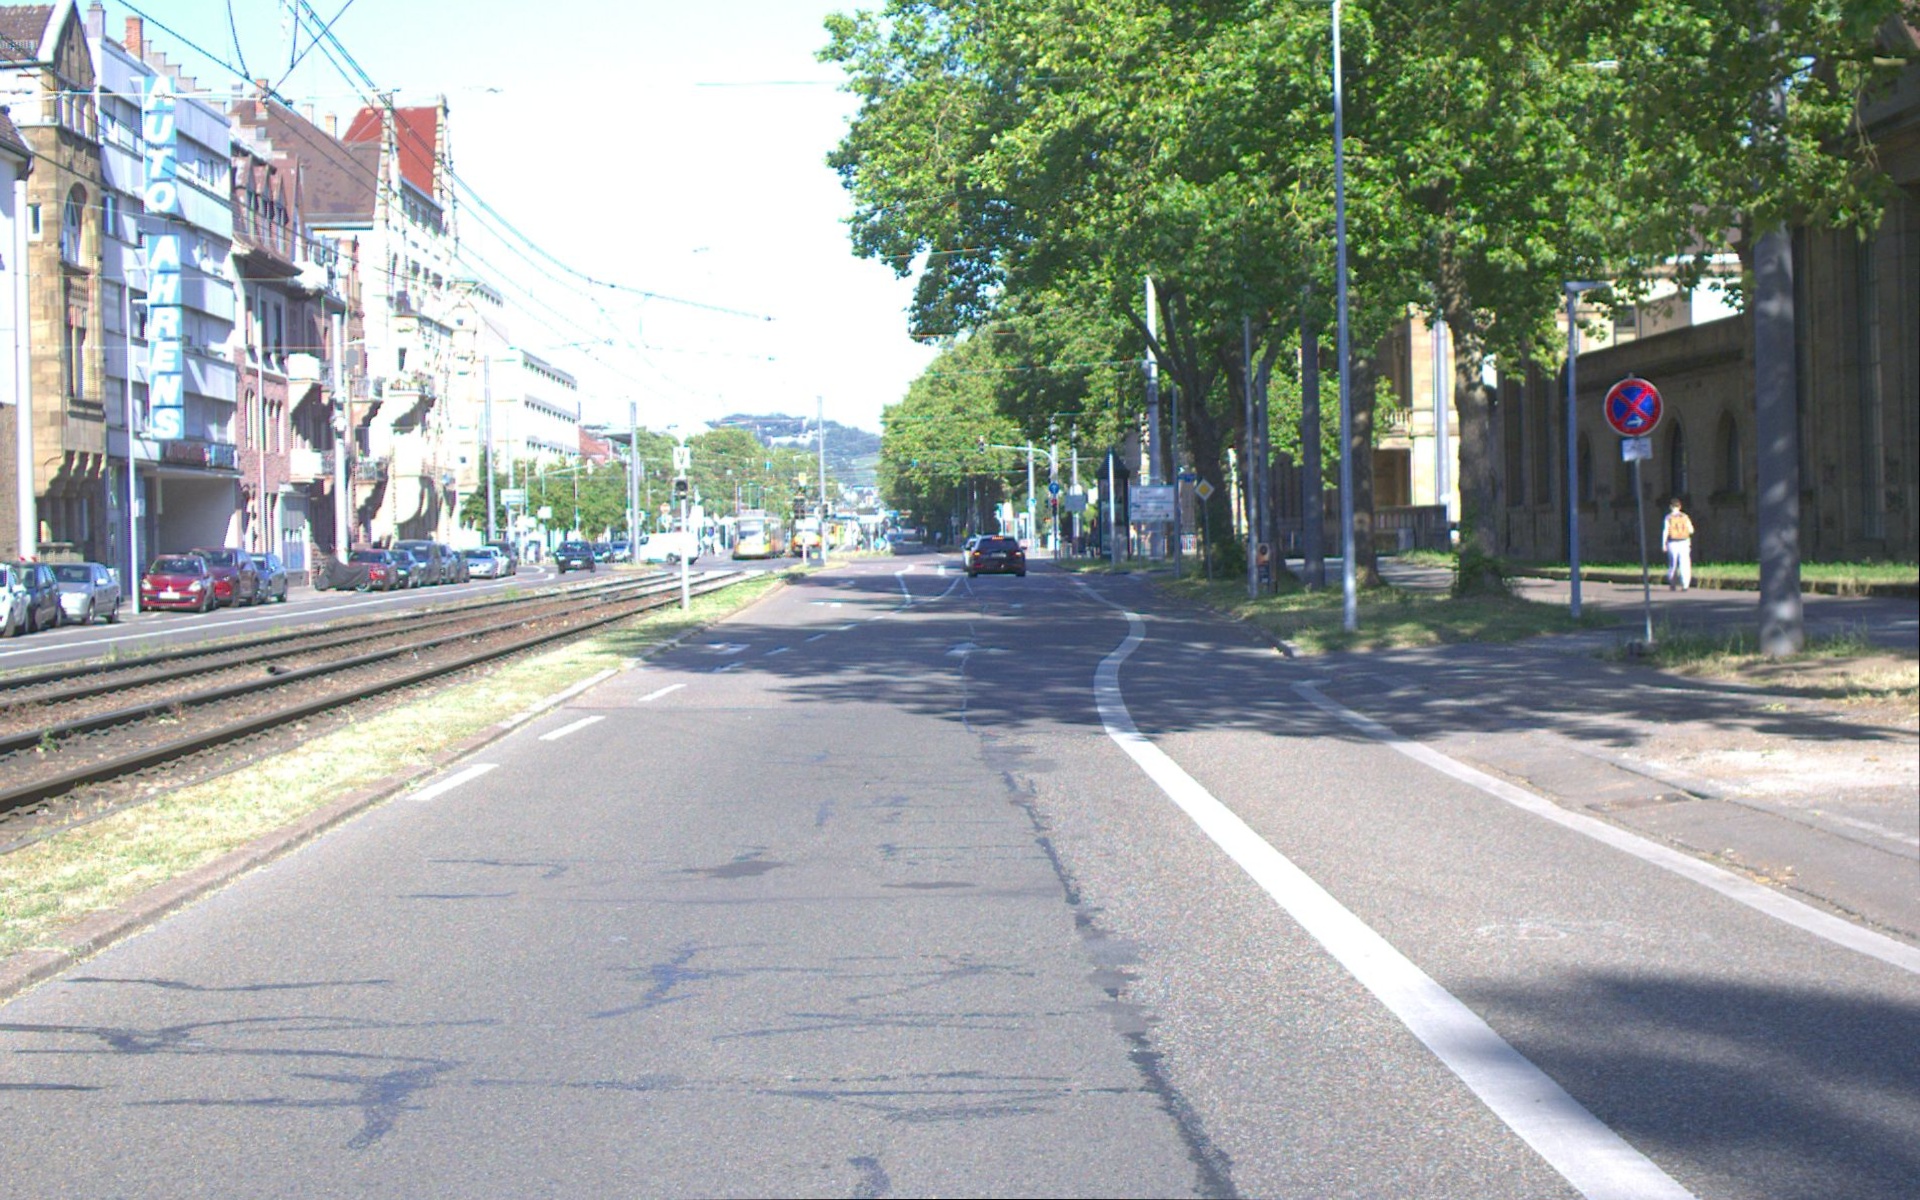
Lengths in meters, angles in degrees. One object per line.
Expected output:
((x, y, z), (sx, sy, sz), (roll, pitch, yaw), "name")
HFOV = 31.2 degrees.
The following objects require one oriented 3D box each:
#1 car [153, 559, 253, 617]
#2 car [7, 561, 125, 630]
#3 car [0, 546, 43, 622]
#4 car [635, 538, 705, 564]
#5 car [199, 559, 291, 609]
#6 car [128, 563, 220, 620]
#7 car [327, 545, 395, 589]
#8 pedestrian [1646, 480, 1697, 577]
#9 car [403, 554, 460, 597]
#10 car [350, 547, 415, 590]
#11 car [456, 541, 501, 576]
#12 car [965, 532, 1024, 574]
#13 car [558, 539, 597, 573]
((-20.995, -0.348, 95.538), (1.833, 1.553, 4.353), (0, 1, 0), "car")
((-20.207, -0.125, 77.829), (1.635, 1.464, 4.159), (0, 2, -1), "car")
((-19.513, -0.308, 68.643), (1.635, 1.464, 3.984), (-2, 1, -6), "car")
((-17.493, -2.963, 207.338), (3.995, 1.505, 1.796), (1, 0, 35), "car")
((-20.946, -0.487, 100.884), (1.833, 1.386, 4.682), (-1, 1, -2), "car")
((-20.564, -0.232, 90.066), (1.833, 1.386, 4.036), (2, 1, -6), "car")
((-21.445, -1.188, 123.238), (1.794, 1.455, 4.267), (2, 1, -2), "car")
((12.737, -1.281, 61.555), (0.608, 1.676, 0.636), (-5, 1, -3), "pedestrian")
((-21.282, -1.002, 138.539), (1.686, 1.646, 4.200), (2, 1, -1), "car")
((-21.515, -1.186, 128.179), (1.794, 1.505, 4.000), (2, 1, -1), "car")
((-21.956, -1.904, 156.848), (1.794, 1.505, 4.001), (2, 1, -6), "car")
((1.152, -1.602, 116.538), (1.833, 1.386, 4.159), (-1, 1, -2), "car")
((-19.055, -2.179, 171.266), (1.635, 1.596, 4.160), (-2, 1, -3), "car")
